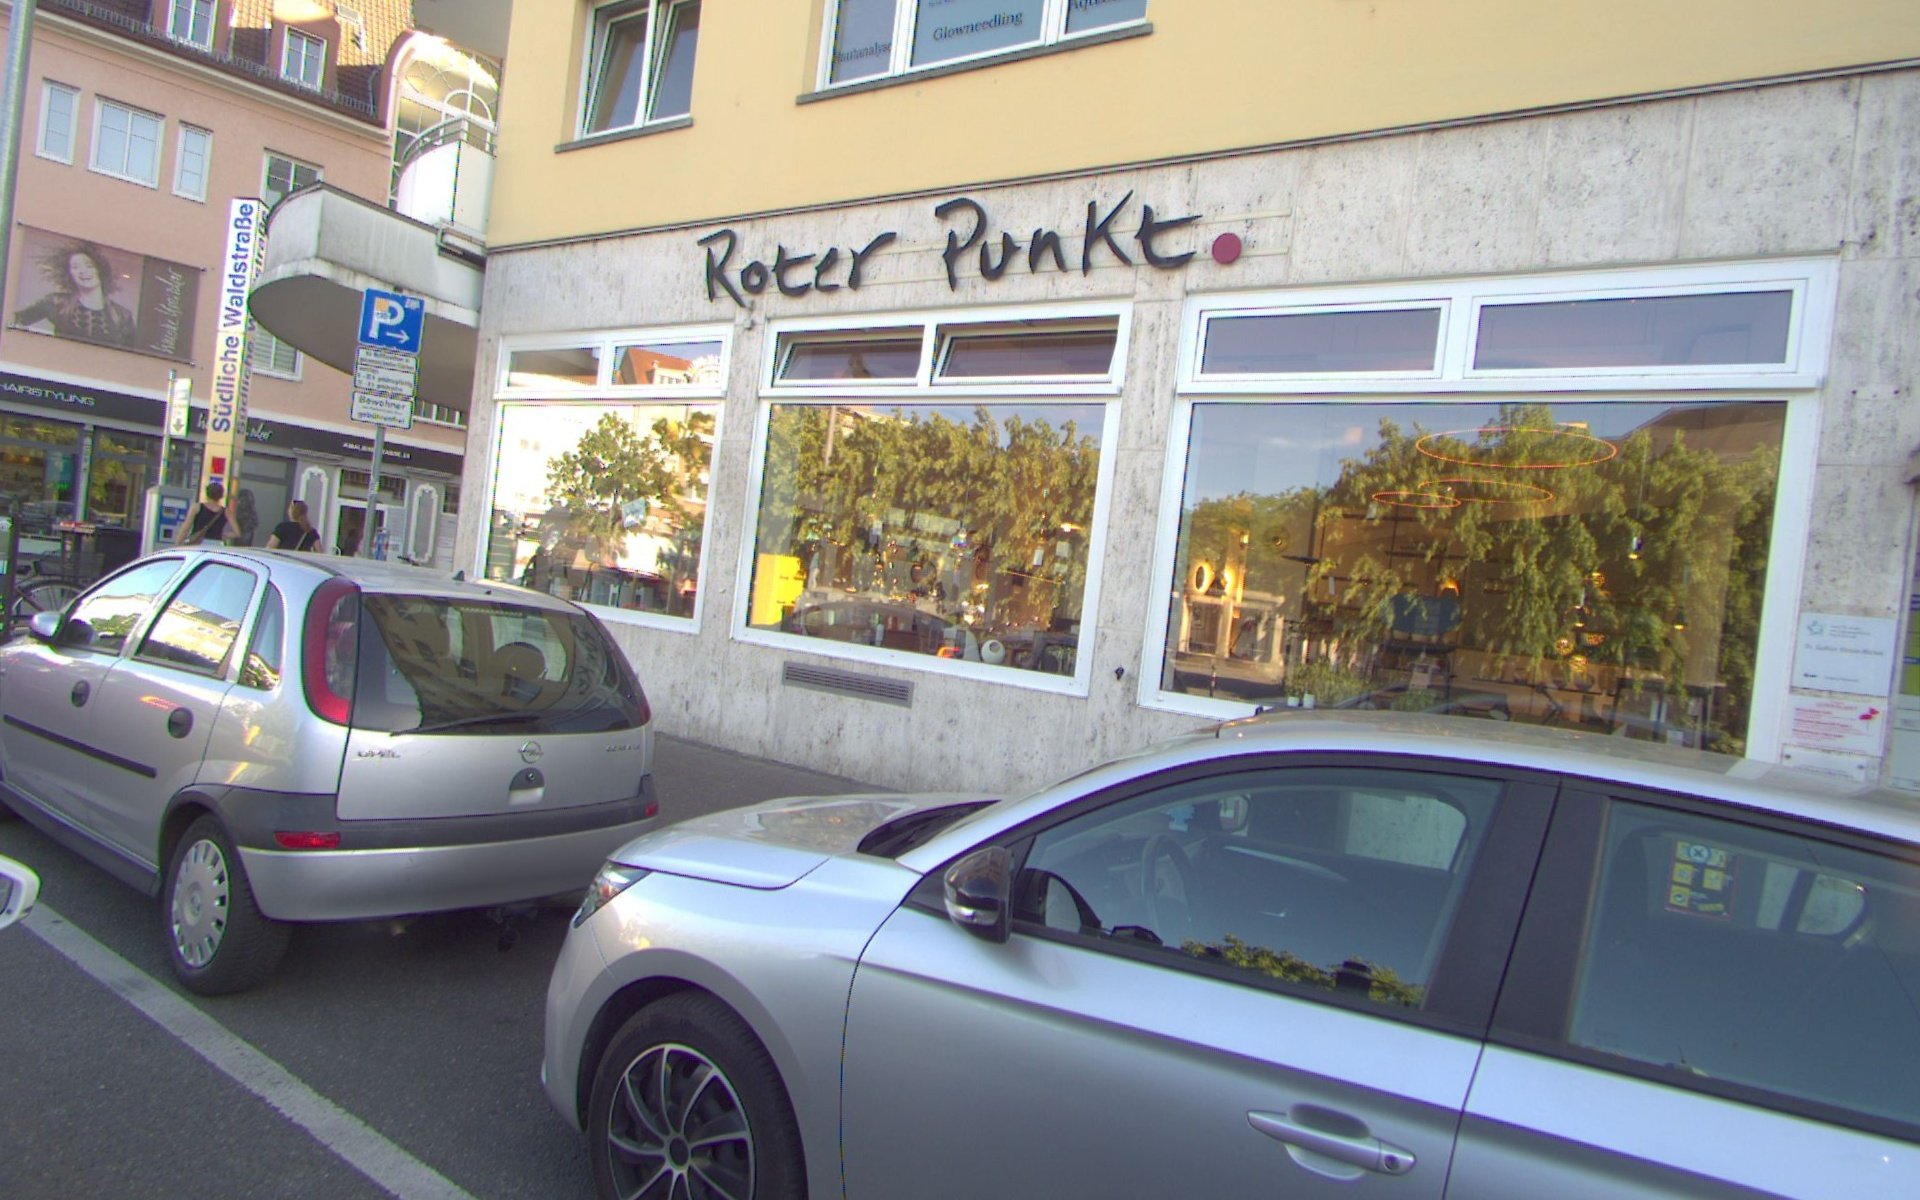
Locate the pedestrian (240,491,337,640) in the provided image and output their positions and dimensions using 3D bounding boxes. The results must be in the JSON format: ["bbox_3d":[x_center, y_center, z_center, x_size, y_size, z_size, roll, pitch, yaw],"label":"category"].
[{"bbox_3d":[-8.482,-0.429,12.706,0.775,1.777,0.720,6,2,36],"label":"pedestrian"}]

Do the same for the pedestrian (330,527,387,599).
[{"bbox_3d":[-14.134,-0.858,23.669,0.711,1.567,0.791,7,-1,-7],"label":"pedestrian"}]

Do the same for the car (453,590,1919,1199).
[{"bbox_3d":[0.786,0.945,2.276,3.624,1.453,1.587,6,-2,30],"label":"car"}]

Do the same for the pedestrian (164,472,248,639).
[{"bbox_3d":[-8.923,-0.522,11.895,0.677,1.875,0.883,2,3,-41],"label":"pedestrian"}]

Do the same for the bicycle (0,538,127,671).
[{"bbox_3d":[-8.158,0.005,8.249,0.642,1.057,1.884,7,0,33],"label":"bicycle"}]

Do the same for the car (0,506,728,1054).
[{"bbox_3d":[-2.950,0.486,4.456,3.520,1.443,1.587,6,-2,32],"label":"car"}]

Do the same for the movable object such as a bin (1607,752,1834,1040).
[{"bbox_3d":[3.380,1.267,4.542,0.639,1.035,0.738,6,-1,31],"label":"movable object such as a bin"}]

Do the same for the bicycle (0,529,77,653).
[{"bbox_3d":[-9.049,-0.149,8.793,0.642,1.072,1.816,7,-1,33],"label":"bicycle"}]

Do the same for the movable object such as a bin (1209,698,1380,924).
[{"bbox_3d":[1.831,1.098,5.472,0.639,1.035,0.738,6,-1,31],"label":"movable object such as a bin"}]

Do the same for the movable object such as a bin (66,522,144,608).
[{"bbox_3d":[-11.946,-0.486,14.057,0.716,1.117,0.636,7,2,35],"label":"movable object such as a bin"}]
